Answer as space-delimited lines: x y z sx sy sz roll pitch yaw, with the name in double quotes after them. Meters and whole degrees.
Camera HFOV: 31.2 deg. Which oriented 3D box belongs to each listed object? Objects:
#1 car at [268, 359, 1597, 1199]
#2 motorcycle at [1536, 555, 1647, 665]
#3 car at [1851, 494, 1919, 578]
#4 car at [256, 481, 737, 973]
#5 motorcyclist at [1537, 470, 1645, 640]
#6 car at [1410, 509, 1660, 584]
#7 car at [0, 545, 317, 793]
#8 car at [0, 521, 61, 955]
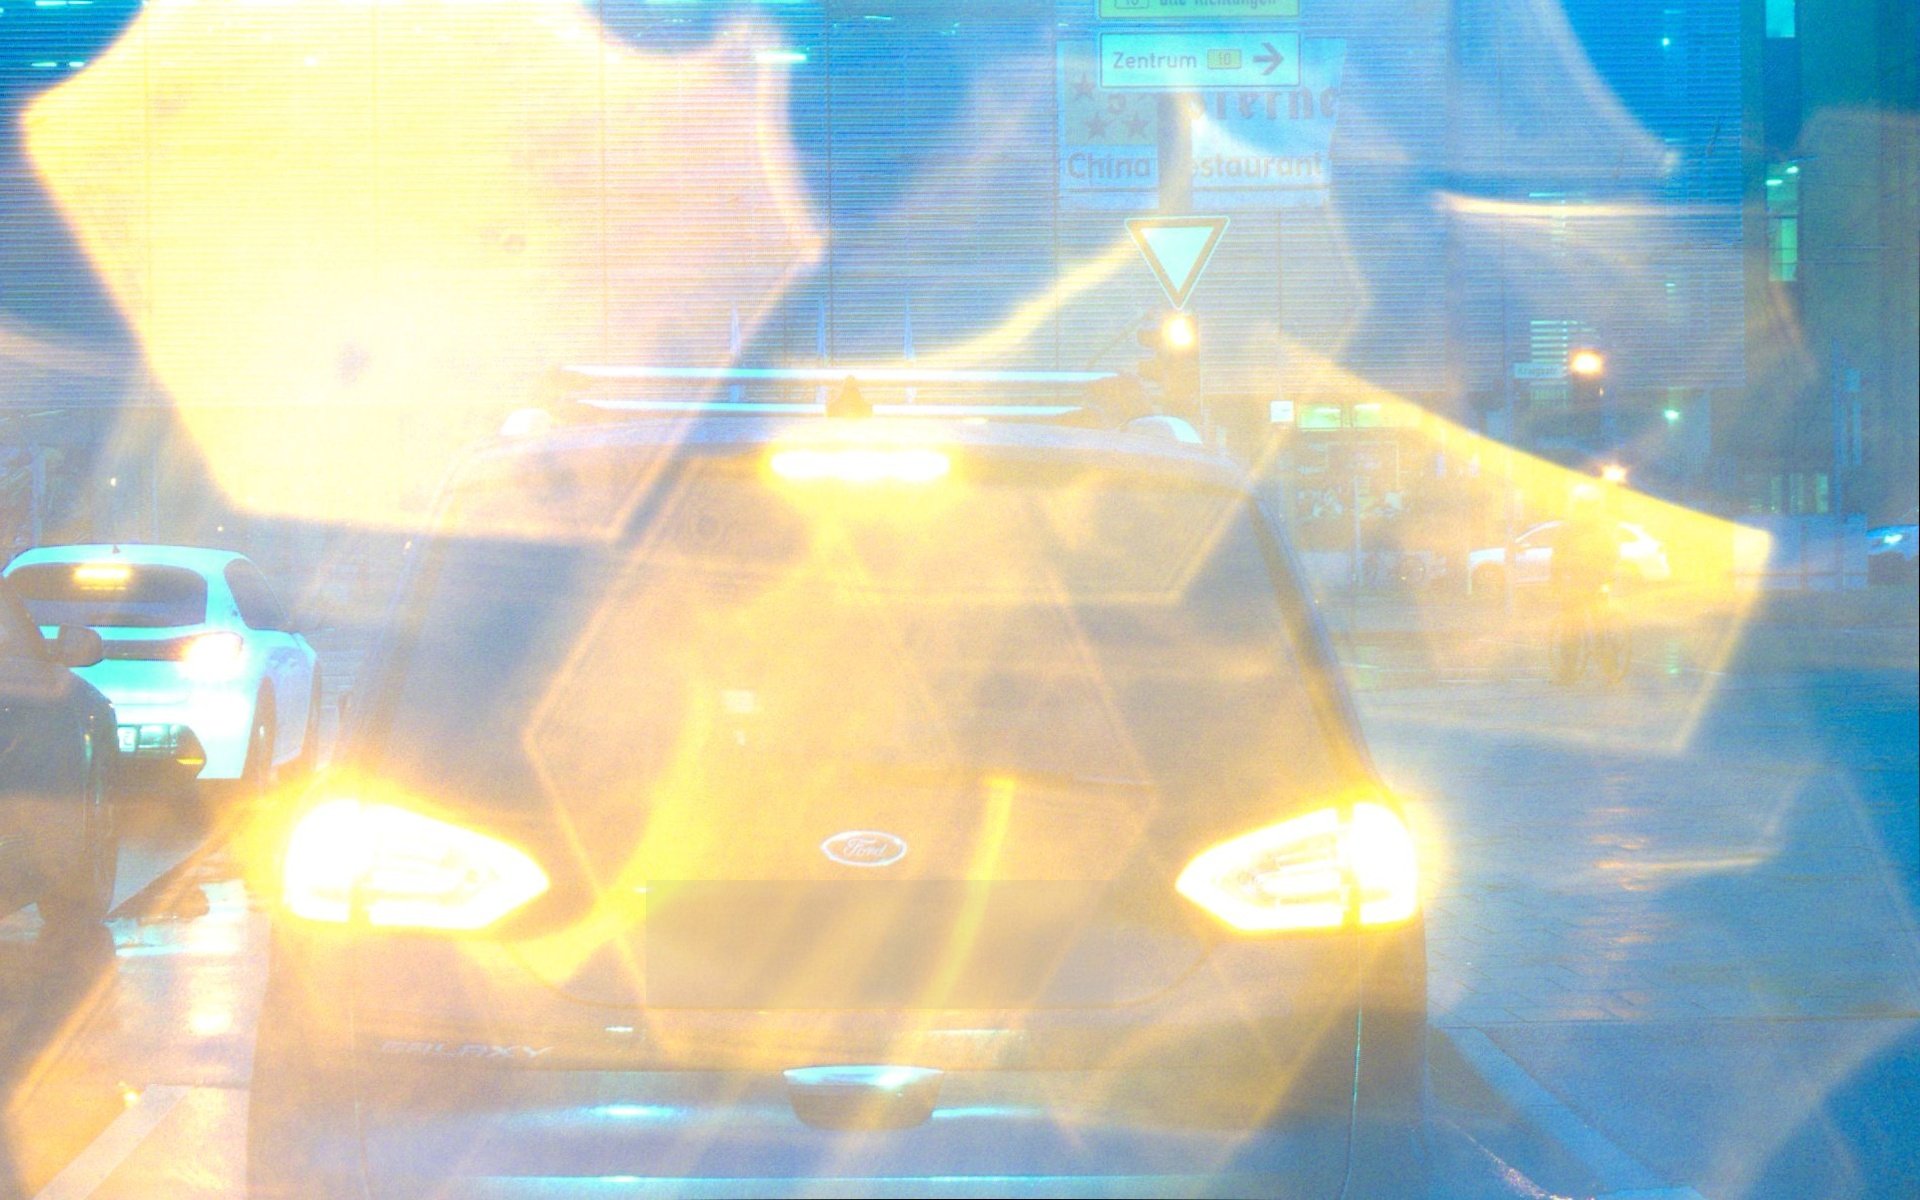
-0.144 0.526 6.698 1.735 1.732 4.247 2 1 -3 "car"
5.802 0.077 31.654 0.853 0.968 1.581 0 1 5 "motorcycle"
19.828 -1.265 66.998 4.418 1.589 1.800 -1 1 -7 "car"
-1.754 0.416 13.701 1.636 1.691 3.671 1 1 -5 "car"
5.803 -0.415 31.660 0.868 1.529 1.108 0 1 5 "motorcyclist"
11.081 -1.044 66.426 4.418 1.385 1.800 -1 1 -7 "car"
-4.516 0.317 19.476 1.540 1.247 4.069 0 1 -8 "car"
-4.286 0.520 11.559 1.752 1.568 4.001 -1 1 -4 "car"
